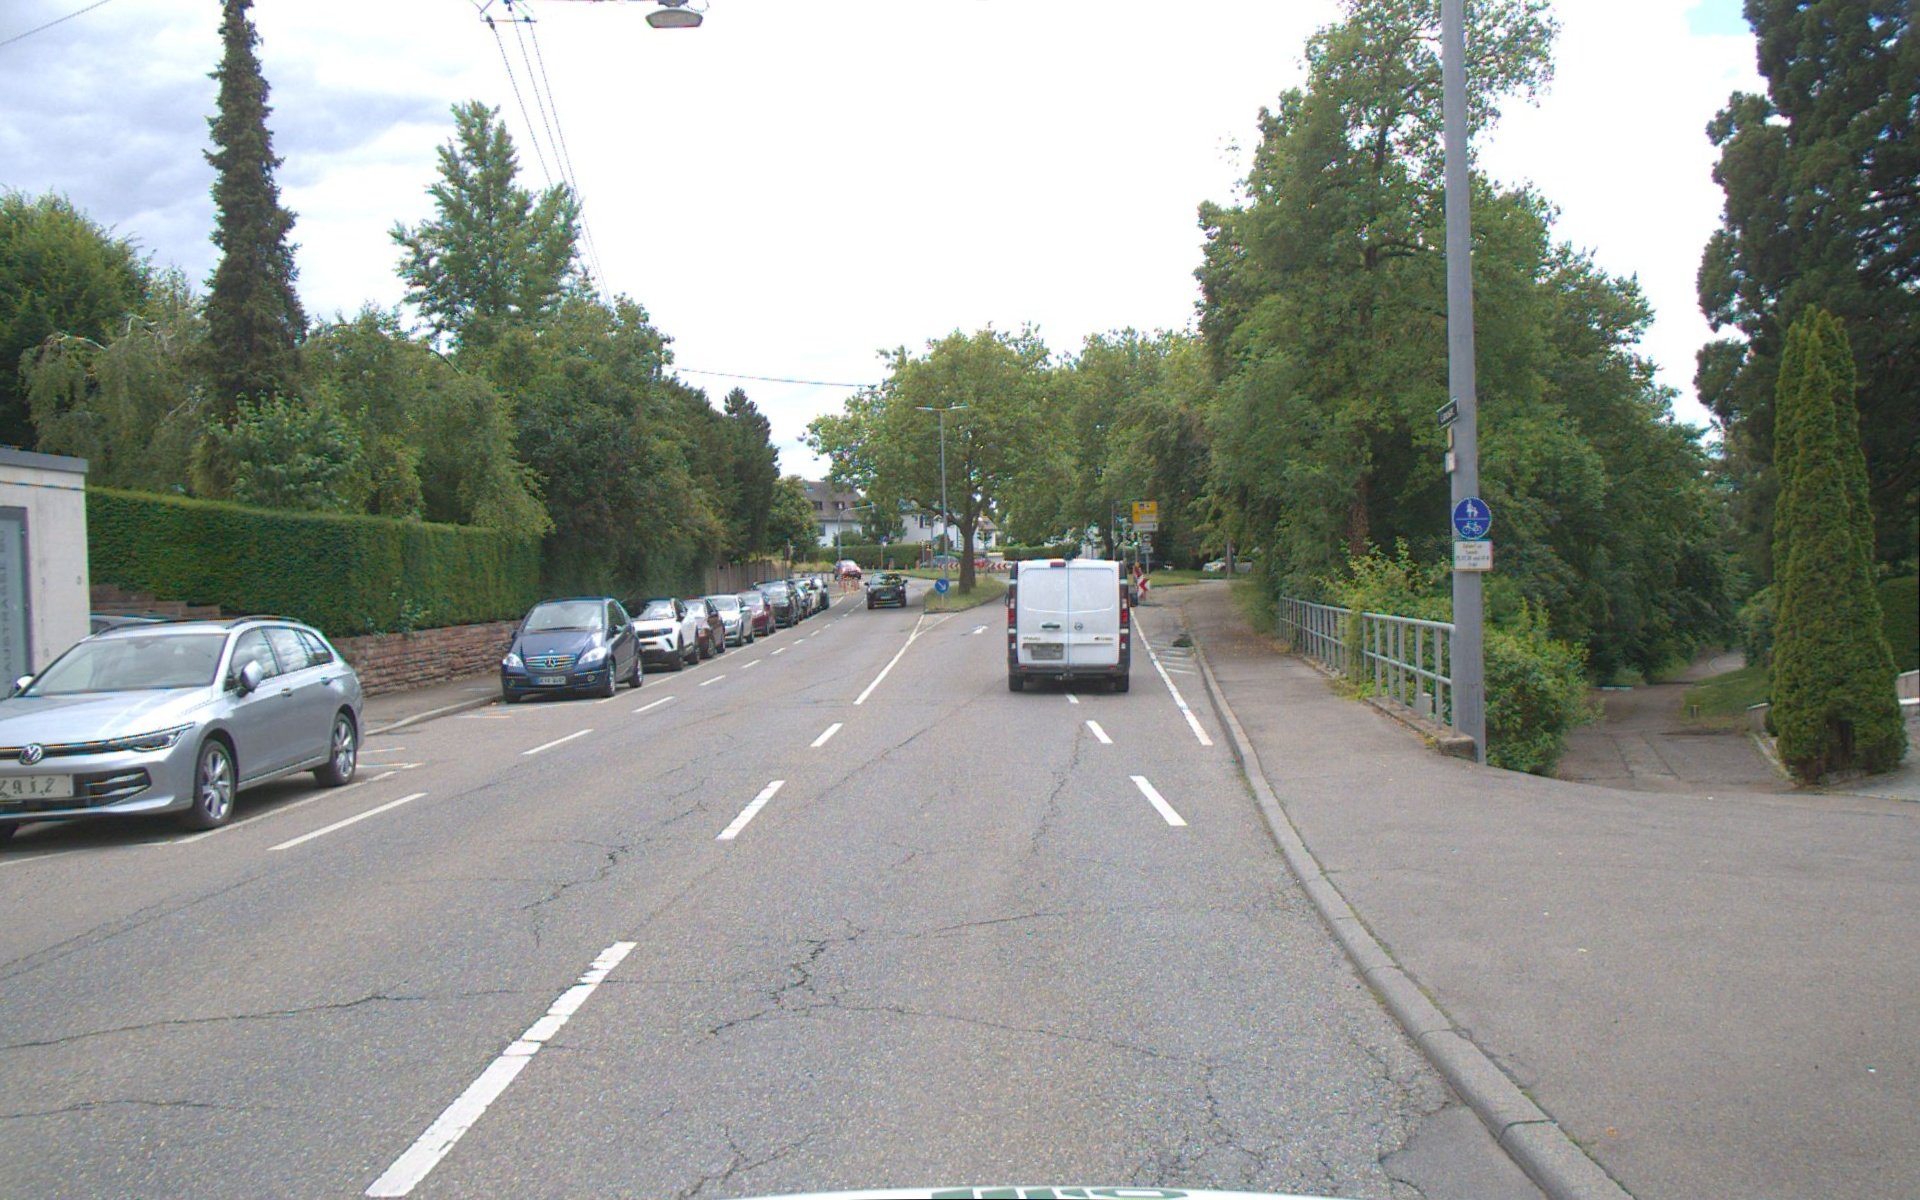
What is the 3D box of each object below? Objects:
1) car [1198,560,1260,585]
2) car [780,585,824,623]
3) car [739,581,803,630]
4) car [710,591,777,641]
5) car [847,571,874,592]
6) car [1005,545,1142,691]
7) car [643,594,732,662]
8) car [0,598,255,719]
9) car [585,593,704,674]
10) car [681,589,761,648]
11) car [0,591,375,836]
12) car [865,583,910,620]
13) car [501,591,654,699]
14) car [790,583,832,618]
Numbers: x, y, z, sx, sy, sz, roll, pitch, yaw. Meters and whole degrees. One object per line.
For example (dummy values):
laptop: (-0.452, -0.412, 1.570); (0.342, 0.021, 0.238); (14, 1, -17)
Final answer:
car: (21.187, -2.158, 130.323); (4.680, 1.800, 1.980); (-2, 1, -30)
car: (-7.406, 0.154, 77.661); (1.638, 1.619, 4.096); (-3, 1, -1)
car: (-6.966, 0.182, 61.244); (1.954, 1.671, 4.464); (-3, 1, -2)
car: (-7.051, 0.501, 54.259); (1.743, 1.463, 3.999); (-3, 1, -2)
car: (-8.287, -1.542, 138.205); (1.957, 1.615, 3.997); (-3, 0, -1)
car: (1.760, 0.243, 26.272); (1.964, 2.073, 5.012); (0, 0, 3)
car: (-6.729, 0.651, 41.138); (1.636, 1.504, 3.909); (-3, 1, -2)
car: (-11.290, 0.747, 21.384); (3.512, 1.415, 1.851); (-2, 0, 8)
car: (-6.727, 0.676, 35.641); (1.852, 1.520, 4.025); (-3, 1, -2)
car: (-6.801, 0.497, 47.461); (1.635, 1.514, 4.430); (-3, 0, -1)
car: (-6.144, 0.741, 12.725); (1.773, 1.480, 4.411); (-4, 1, -2)
car: (-3.474, 0.046, 79.892); (1.804, 1.676, 4.214); (-2, 0, 2)
car: (-6.339, 0.703, 27.796); (1.645, 1.583, 3.970); (-3, 0, -1)
car: (-7.463, 0.025, 83.004); (1.850, 1.653, 4.428); (-2, 0, -3)
